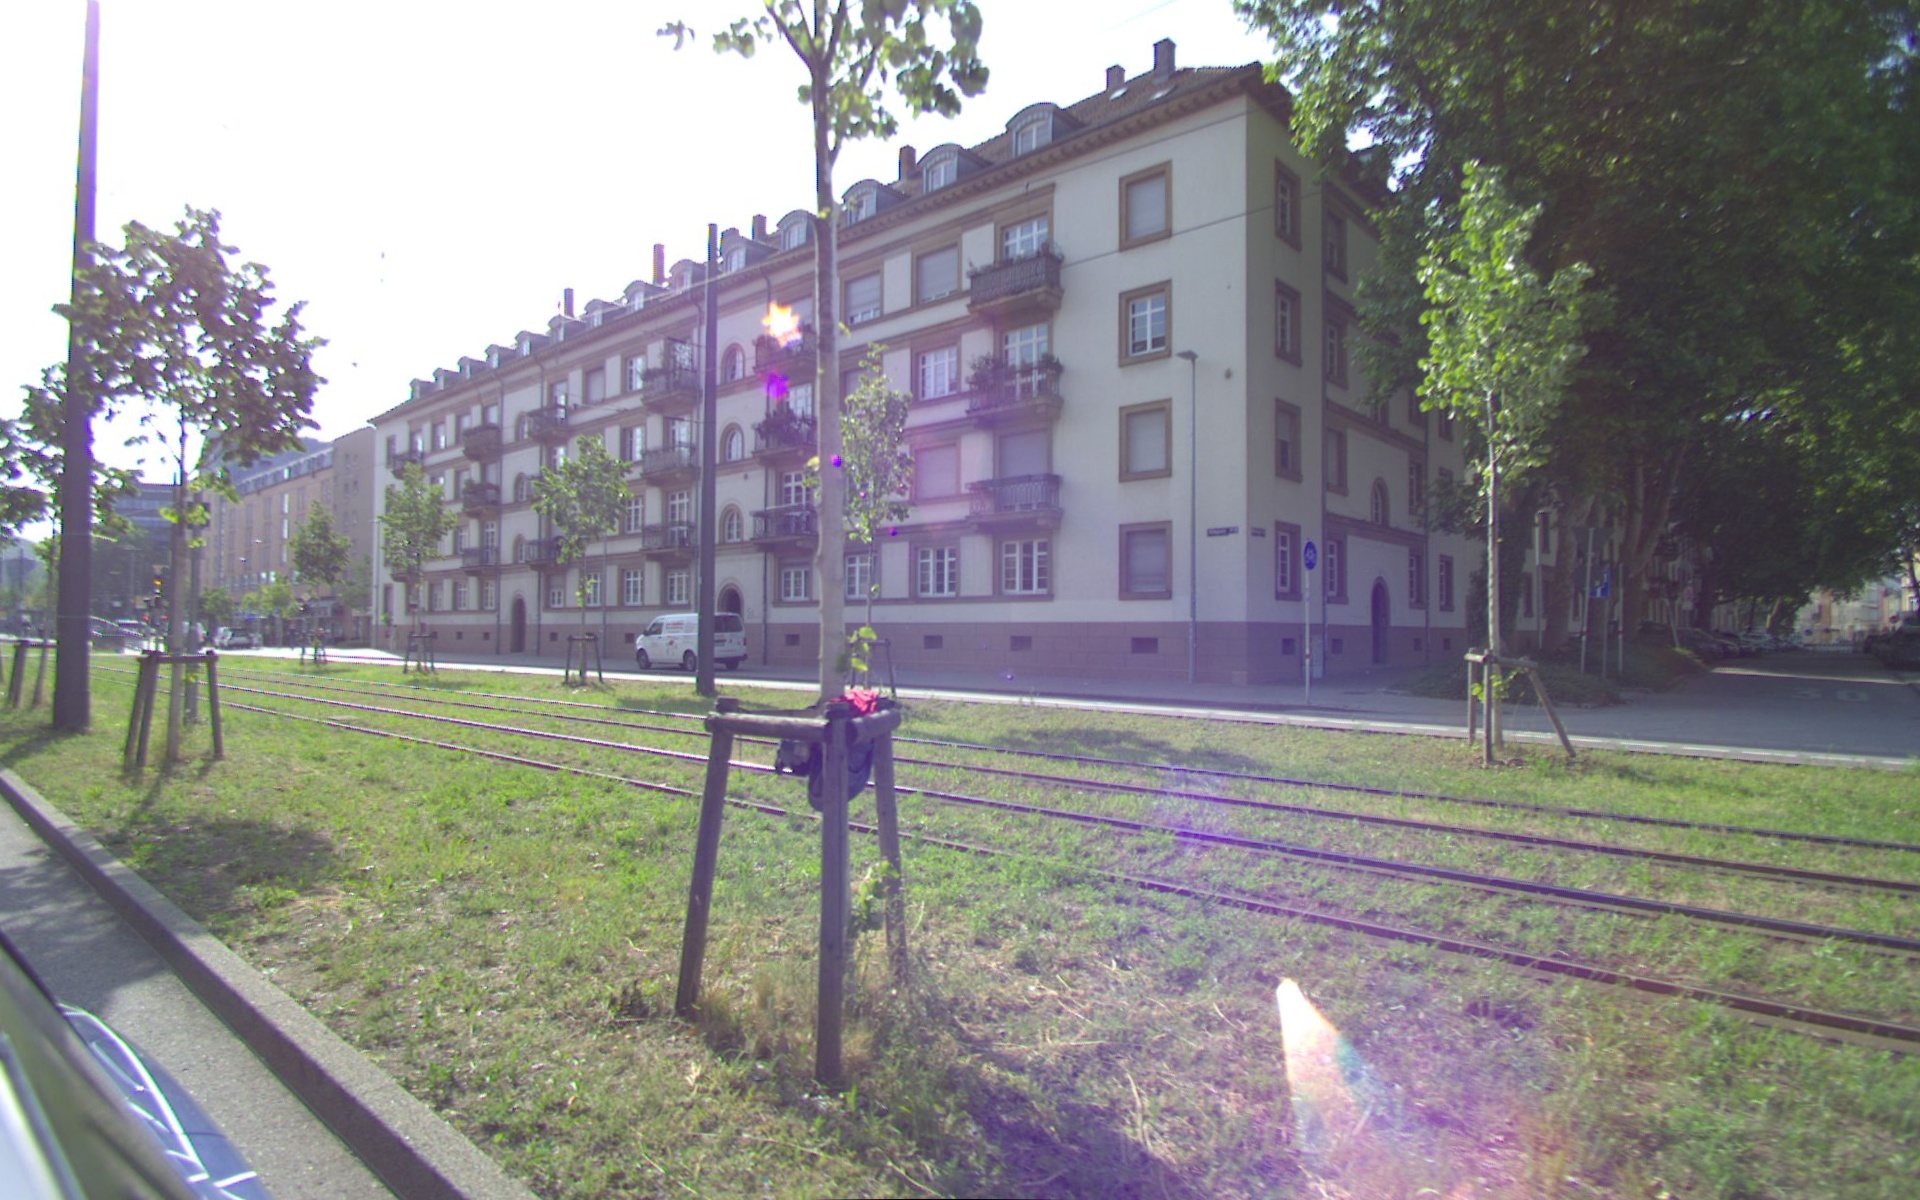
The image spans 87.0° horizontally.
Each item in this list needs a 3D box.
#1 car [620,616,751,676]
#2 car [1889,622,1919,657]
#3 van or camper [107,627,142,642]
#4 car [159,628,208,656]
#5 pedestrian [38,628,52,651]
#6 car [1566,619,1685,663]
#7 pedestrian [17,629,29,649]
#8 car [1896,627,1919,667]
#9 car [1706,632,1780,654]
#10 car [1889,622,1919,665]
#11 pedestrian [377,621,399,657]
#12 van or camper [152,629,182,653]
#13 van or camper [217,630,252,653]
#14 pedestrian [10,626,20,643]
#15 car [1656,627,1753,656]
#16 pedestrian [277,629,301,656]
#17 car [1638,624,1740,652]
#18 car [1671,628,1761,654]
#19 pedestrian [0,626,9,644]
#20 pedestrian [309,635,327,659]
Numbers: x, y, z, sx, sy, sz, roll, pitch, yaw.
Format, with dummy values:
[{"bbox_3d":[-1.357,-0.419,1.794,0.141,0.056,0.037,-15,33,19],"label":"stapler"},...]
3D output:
[{"bbox_3d":[-9.682,1.567,35.504,5.152,1.932,1.972,-2,-1,42],"label":"car"},{"bbox_3d":[44.918,1.831,47.333,1.999,1.619,3.945,-2,-2,41],"label":"car"},{"bbox_3d":[-125.297,5.211,151.827,3.923,2.228,1.938,2,-2,-40],"label":"van or camper"},{"bbox_3d":[-55.711,3.010,72.595,5.047,1.909,1.971,-2,-3,43],"label":"car"},{"bbox_3d":[-76.678,3.309,84.803,0.939,1.886,0.731,-2,-3,42],"label":"pedestrian"},{"bbox_3d":[28.356,1.739,43.203,3.998,1.763,1.972,-2,-2,41],"label":"car"},{"bbox_3d":[-88.359,3.664,95.437,0.555,1.901,0.796,-2,-3,43],"label":"pedestrian"},{"bbox_3d":[34.575,1.640,35.811,1.999,1.386,3.945,-2,-2,41],"label":"car"},{"bbox_3d":[55.163,3.022,71.298,3.998,1.475,1.972,-2,-2,41],"label":"car"},{"bbox_3d":[37.737,1.668,39.530,1.999,1.619,3.945,-2,-2,41],"label":"car"},{"bbox_3d":[-33.738,2.297,59.703,1.156,2.084,0.833,-2,-2,42],"label":"pedestrian"},{"bbox_3d":[-98.658,5.078,125.828,5.351,2.823,1.972,-2,-3,42],"label":"van or camper"},{"bbox_3d":[-64.340,3.686,89.698,1.907,1.983,4.003,2,-3,-44],"label":"van or camper"},{"bbox_3d":[-99.457,3.603,106.524,0.698,1.774,0.644,-1,0,42],"label":"pedestrian"},{"bbox_3d":[39.321,2.172,53.494,3.998,1.475,1.972,-2,-2,41],"label":"car"},{"bbox_3d":[-47.278,3.015,71.308,0.856,1.882,1.066,0,-2,14],"label":"pedestrian"},{"bbox_3d":[36.902,1.907,51.278,3.998,1.386,1.875,-2,-2,41],"label":"car"},{"bbox_3d":[43.714,2.365,58.546,3.998,1.475,1.972,-2,-2,41],"label":"car"},{"bbox_3d":[-96.199,3.499,101.525,0.825,1.760,0.784,1,-3,5],"label":"pedestrian"},{"bbox_3d":[-43.927,3.221,69.230,0.671,1.595,0.807,0,-2,3],"label":"pedestrian"}]
